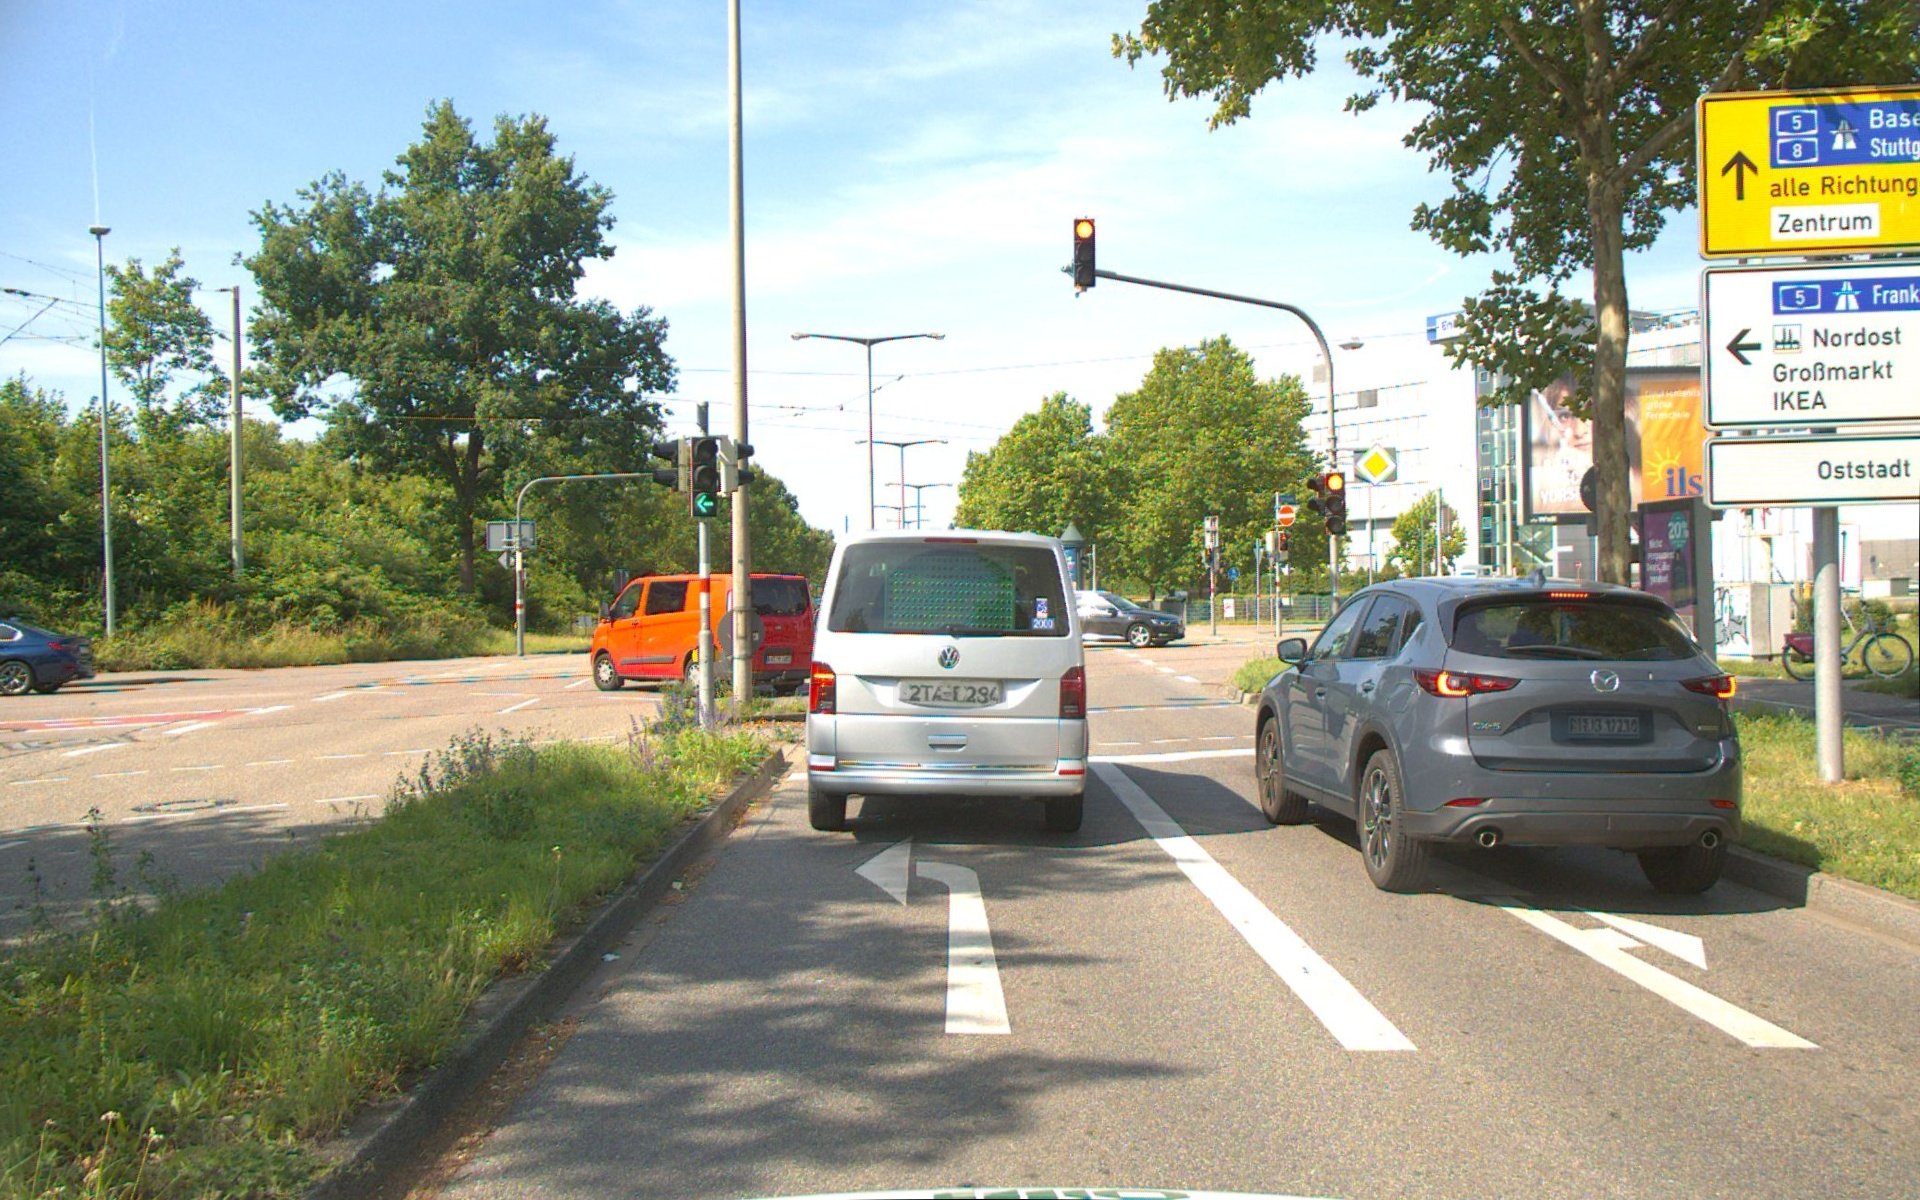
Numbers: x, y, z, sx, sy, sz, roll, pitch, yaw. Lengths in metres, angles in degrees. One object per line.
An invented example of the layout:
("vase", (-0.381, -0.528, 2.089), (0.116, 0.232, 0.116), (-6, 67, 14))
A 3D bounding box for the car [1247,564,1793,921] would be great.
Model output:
("car", (3.068, 0.686, 10.141), (1.730, 1.688, 4.495), (1, 0, -1))

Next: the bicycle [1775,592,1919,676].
("bicycle", (12.764, 0.487, 23.823), (1.748, 1.127, 0.504), (-3, -1, 18))

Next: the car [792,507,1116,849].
("car", (-0.061, 0.464, 12.324), (1.902, 2.006, 5.021), (-1, 0, -1))

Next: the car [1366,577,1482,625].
("car", (17.769, 0.041, 63.264), (4.578, 1.718, 1.890), (-1, 0, -37))

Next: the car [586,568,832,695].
("car", (-4.303, 0.508, 27.860), (1.958, 1.958, 4.490), (-1, 0, -42))

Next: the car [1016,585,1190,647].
("car", (3.833, 0.435, 44.363), (4.291, 1.537, 1.850), (-1, 0, 24))

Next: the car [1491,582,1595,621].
("car", (23.803, 0.059, 67.466), (4.578, 1.469, 1.758), (-1, 0, -37))

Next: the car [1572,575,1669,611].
("car", (28.297, -0.309, 70.778), (4.578, 1.469, 1.758), (-1, 0, -37))

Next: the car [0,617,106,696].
("car", (-18.734, 1.085, 31.247), (4.233, 1.421, 1.788), (-1, 0, -10))

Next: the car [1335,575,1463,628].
("car", (15.257, 0.052, 57.407), (4.578, 1.718, 1.890), (-1, 0, -37))
